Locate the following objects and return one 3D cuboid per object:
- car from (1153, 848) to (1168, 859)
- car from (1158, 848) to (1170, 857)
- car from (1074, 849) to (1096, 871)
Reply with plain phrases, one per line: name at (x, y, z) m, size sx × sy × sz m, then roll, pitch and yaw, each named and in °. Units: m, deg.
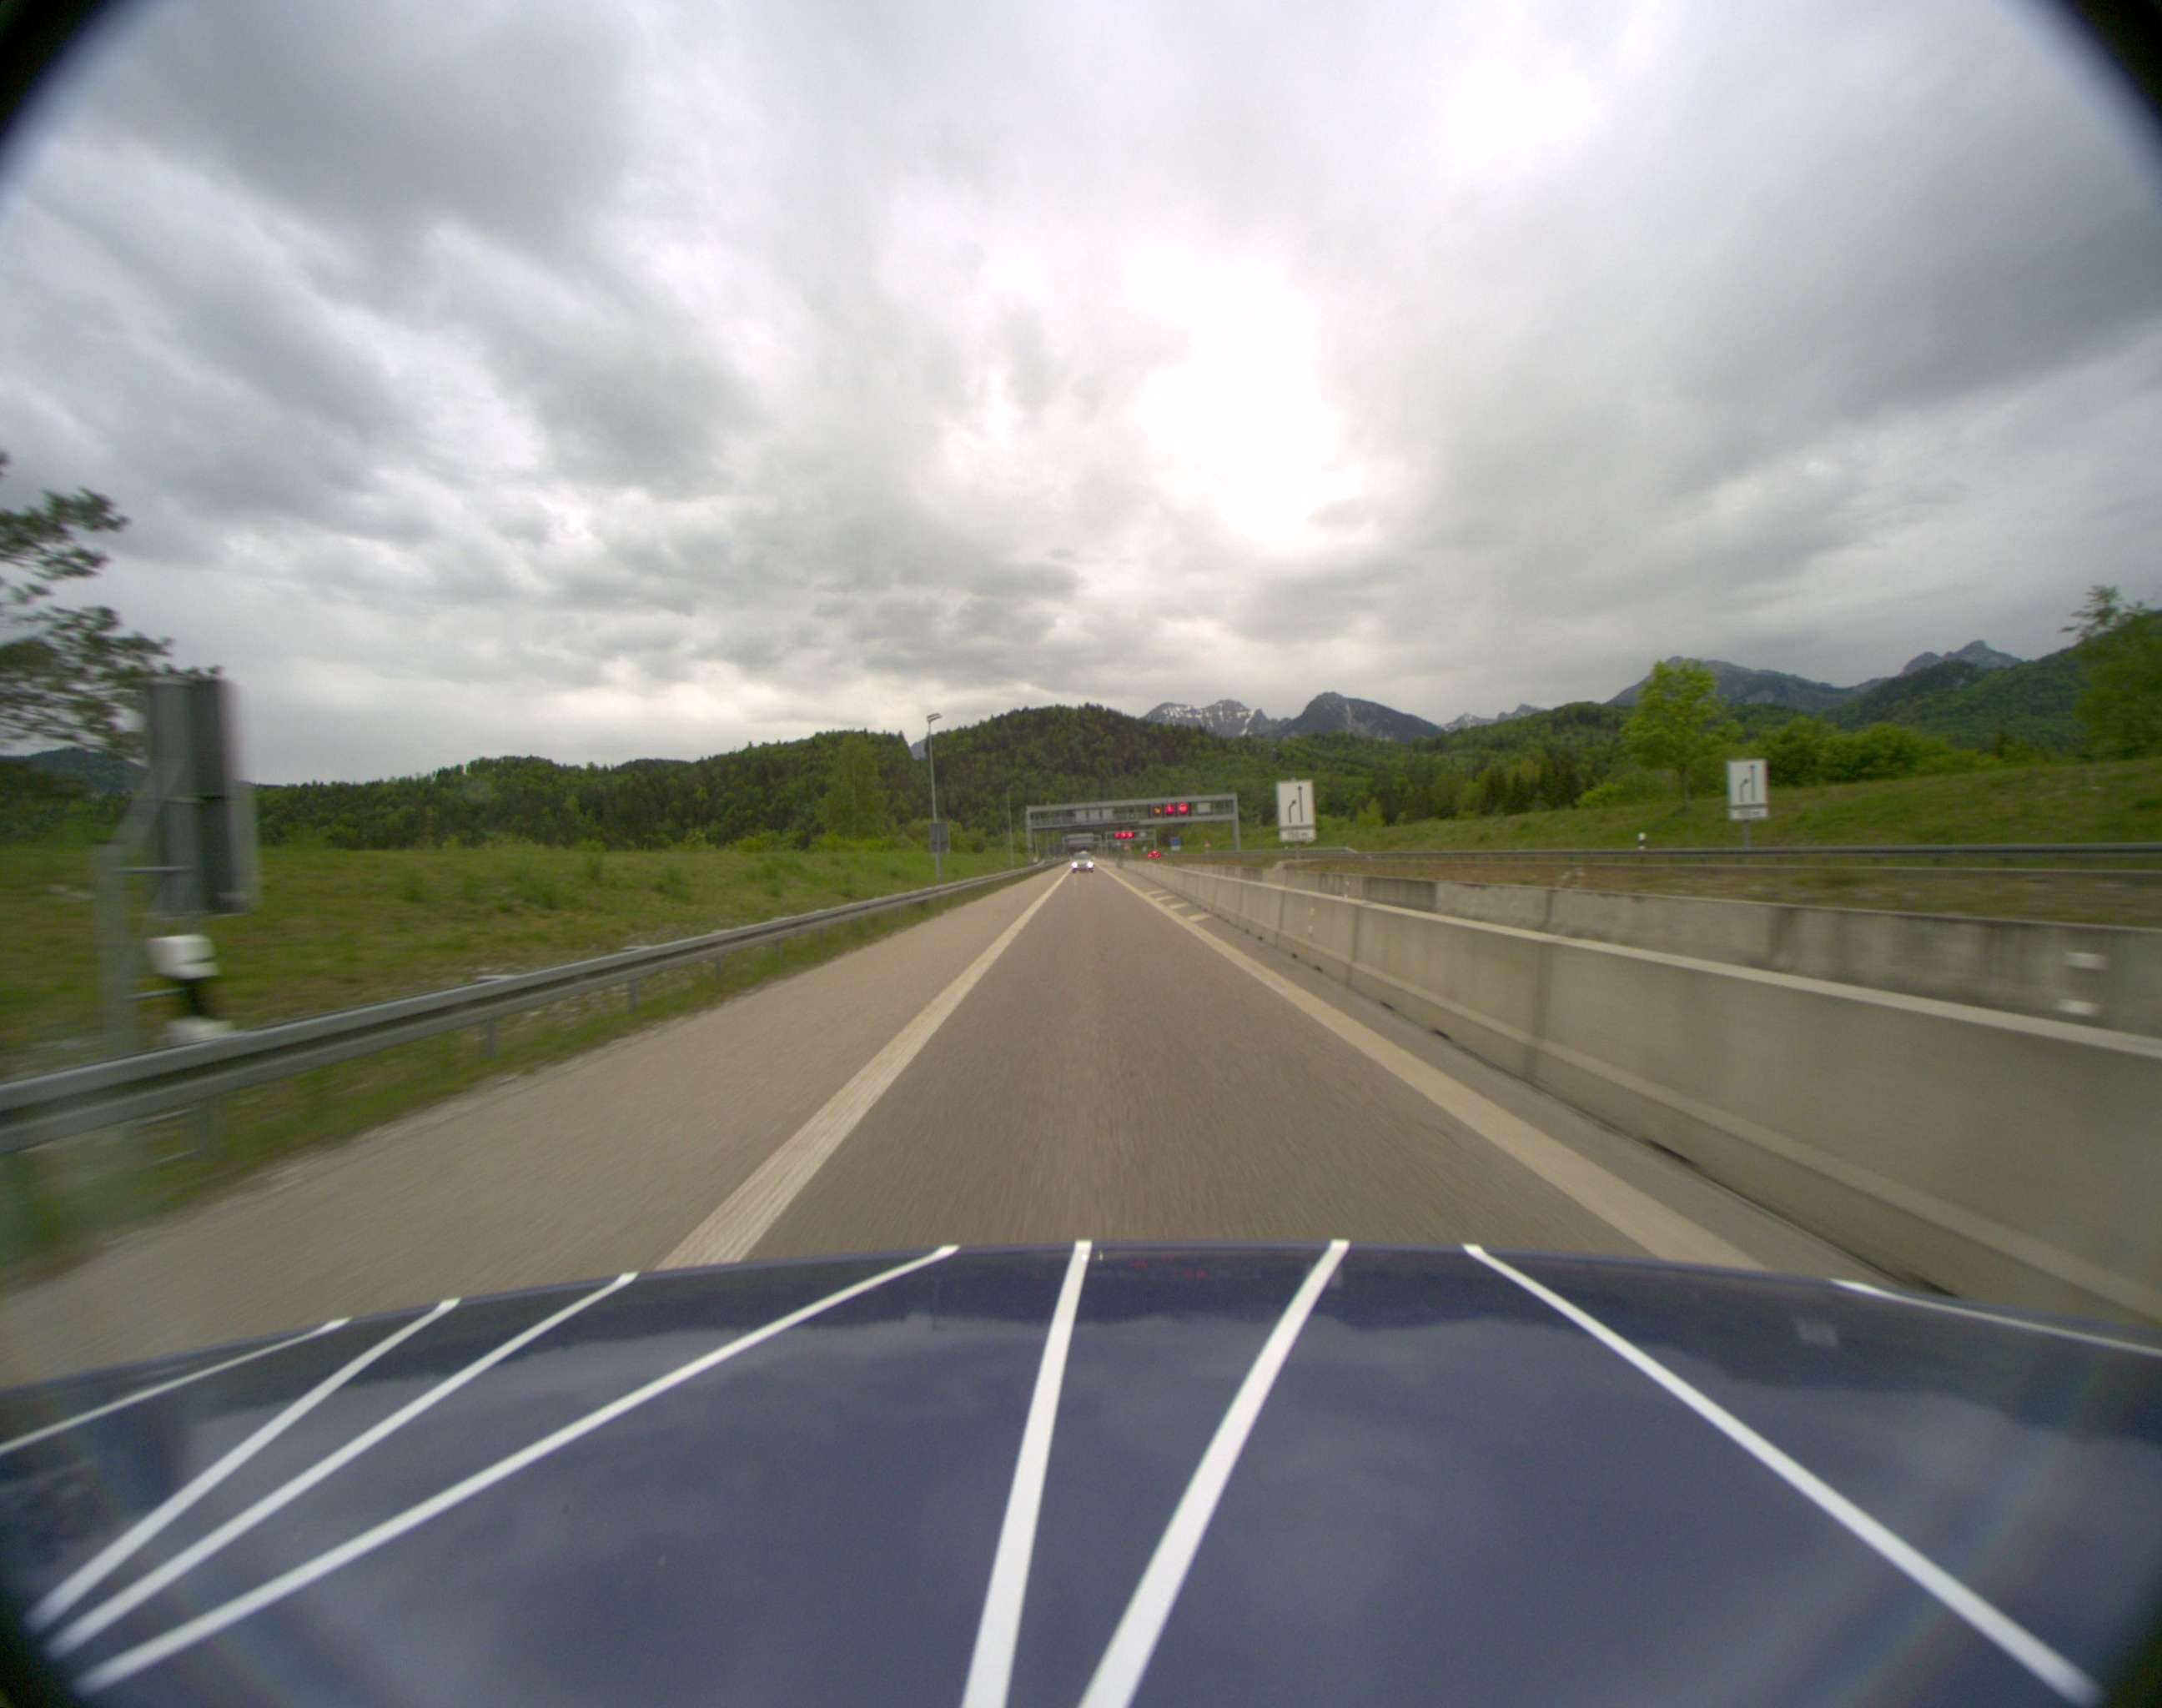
car at (13.593, -0.134, 130.485) m, size 1.883 × 1.726 × 5.751 m, roll -3°, pitch 0°, yaw 0°
car at (16.327, -0.277, 148.842) m, size 1.773 × 1.598 × 4.405 m, roll -3°, pitch 0°, yaw 0°
car at (0.381, 0.549, 71.895) m, size 1.922 × 1.871 × 5.138 m, roll -1°, pitch 1°, yaw 1°
